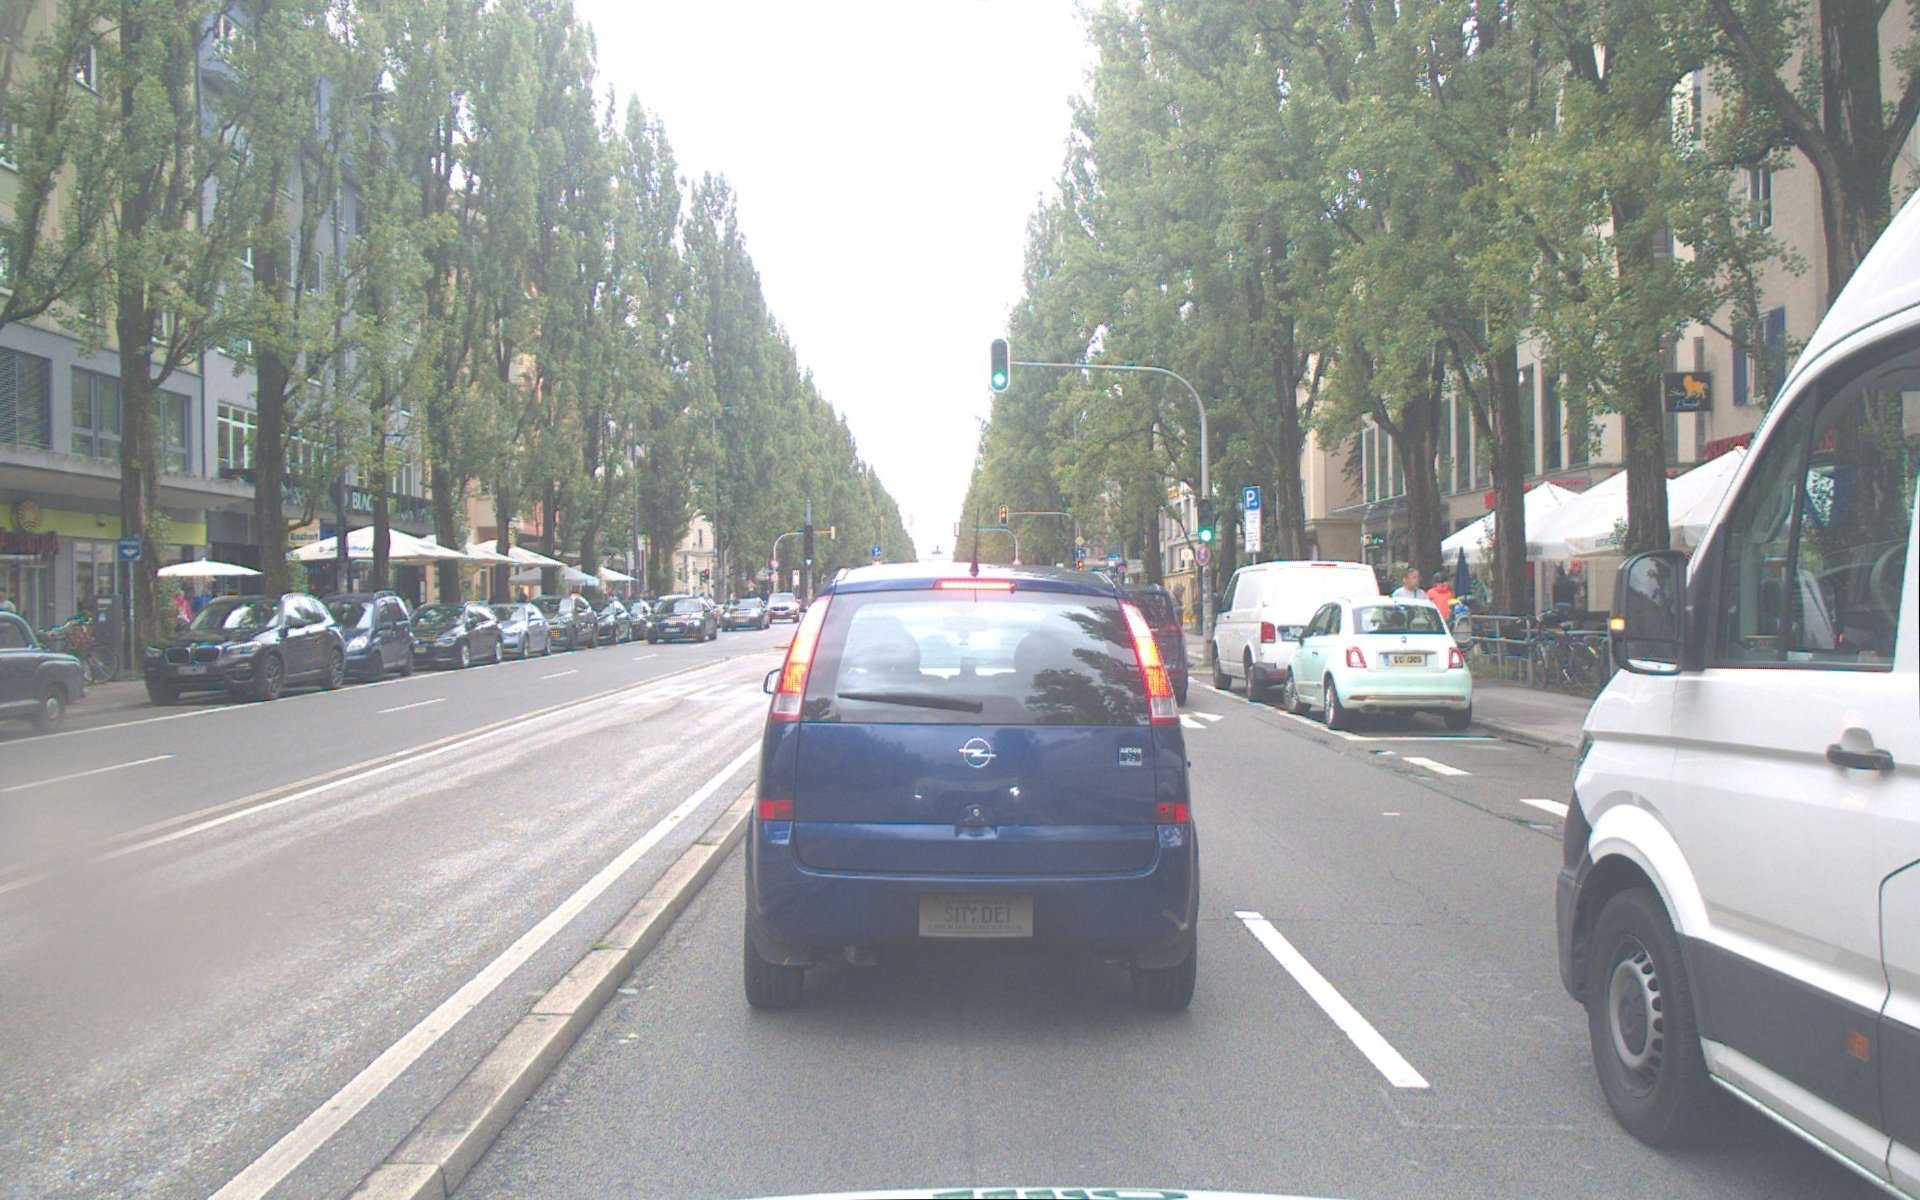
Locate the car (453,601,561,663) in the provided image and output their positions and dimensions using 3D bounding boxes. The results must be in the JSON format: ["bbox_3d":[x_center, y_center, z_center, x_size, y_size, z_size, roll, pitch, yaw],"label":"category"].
[{"bbox_3d":[-11.811,0.812,43.381,1.698,1.450,4.142,-2,0,-1],"label":"car"}]

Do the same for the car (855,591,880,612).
[{"bbox_3d":[-6.975,0.108,125.281,1.699,1.491,3.364,-1,0,-1],"label":"car"}]

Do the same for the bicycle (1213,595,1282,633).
[{"bbox_3d":[9.565,0.470,55.079,2.182,1.225,0.626,-1,0,-3],"label":"bicycle"}]

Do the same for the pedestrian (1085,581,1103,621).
[{"bbox_3d":[6.360,0.043,78.720,0.625,1.859,0.885,1,-1,-11],"label":"pedestrian"}]

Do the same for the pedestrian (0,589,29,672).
[{"bbox_3d":[-20.102,0.644,34.690,0.740,1.715,0.675,-1,-1,0],"label":"pedestrian"}]

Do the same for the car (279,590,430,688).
[{"bbox_3d":[-11.835,0.716,32.556,1.676,1.751,3.919,-2,0,-4],"label":"car"}]

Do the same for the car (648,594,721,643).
[{"bbox_3d":[-9.225,0.598,55.732,1.663,1.488,4.712,-2,0,-1],"label":"car"}]

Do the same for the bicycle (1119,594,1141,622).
[{"bbox_3d":[8.374,0.392,81.717,0.757,1.372,2.449,-1,0,-1],"label":"bicycle"}]

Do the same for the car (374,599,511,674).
[{"bbox_3d":[-11.762,0.791,37.899,1.762,1.514,4.349,-2,0,-1],"label":"car"}]

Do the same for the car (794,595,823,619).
[{"bbox_3d":[-11.091,0.498,121.156,1.828,1.695,4.119,-1,0,-1],"label":"car"}]

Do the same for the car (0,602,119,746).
[{"bbox_3d":[-11.617,0.872,18.829,1.828,1.579,4.413,-2,0,-1],"label":"car"}]

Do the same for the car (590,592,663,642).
[{"bbox_3d":[-12.124,0.599,60.326,1.828,1.694,4.119,-2,0,-1],"label":"car"}]

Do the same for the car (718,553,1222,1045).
[{"bbox_3d":[0.016,0.638,7.384,1.637,1.596,3.999,0,0,-1],"label":"car"}]

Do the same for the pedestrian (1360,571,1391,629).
[{"bbox_3d":[12.492,0.010,49.728,0.660,1.715,0.758,-1,-1,-5],"label":"pedestrian"}]

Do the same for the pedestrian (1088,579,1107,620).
[{"bbox_3d":[6.170,-0.023,74.322,0.625,1.859,0.885,1,-1,-11],"label":"pedestrian"}]

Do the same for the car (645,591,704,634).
[{"bbox_3d":[-12.252,0.513,71.112,1.828,1.694,4.119,-2,0,-1],"label":"car"}]

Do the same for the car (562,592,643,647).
[{"bbox_3d":[-11.935,0.625,55.484,1.828,1.694,4.119,-2,0,-1],"label":"car"}]

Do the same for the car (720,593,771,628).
[{"bbox_3d":[-9.465,0.441,73.248,1.710,1.459,4.129,-2,0,-1],"label":"car"}]

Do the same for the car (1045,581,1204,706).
[{"bbox_3d":[2.287,0.562,23.915,1.858,1.650,3.999,0,0,-1],"label":"car"}]

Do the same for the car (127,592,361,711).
[{"bbox_3d":[-11.590,0.763,27.138,1.828,1.693,4.610,-2,0,-1],"label":"car"}]

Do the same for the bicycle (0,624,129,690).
[{"bbox_3d":[-16.195,1.020,29.912,1.909,1.114,0.718,2,0,-7],"label":"bicycle"}]

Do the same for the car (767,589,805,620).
[{"bbox_3d":[-9.603,0.235,91.650,1.735,1.663,4.454,-2,0,-2],"label":"car"}]

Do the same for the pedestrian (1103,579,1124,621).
[{"bbox_3d":[6.922,0.001,74.523,0.707,1.859,0.885,1,-1,-11],"label":"pedestrian"}]

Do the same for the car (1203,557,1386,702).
[{"bbox_3d":[4.936,0.390,25.030,1.751,1.980,4.729,0,0,-1],"label":"car"}]

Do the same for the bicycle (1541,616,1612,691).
[{"bbox_3d":[8.775,0.743,23.585,0.342,1.013,1.453,-2,0,-4],"label":"bicycle"}]

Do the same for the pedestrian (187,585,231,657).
[{"bbox_3d":[-18.156,0.503,39.989,0.740,1.715,0.675,-1,-1,0],"label":"pedestrian"}]

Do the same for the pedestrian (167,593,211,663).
[{"bbox_3d":[-19.114,0.686,40.997,0.740,1.715,0.675,-1,-1,0],"label":"pedestrian"}]

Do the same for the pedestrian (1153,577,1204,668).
[{"bbox_3d":[4.201,0.423,31.803,0.843,1.714,0.626,-1,0,-4],"label":"pedestrian"}]

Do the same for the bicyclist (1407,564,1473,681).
[{"bbox_3d":[7.509,0.344,25.900,0.752,1.797,0.885,-1,0,-1],"label":"bicyclist"}]

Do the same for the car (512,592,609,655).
[{"bbox_3d":[-11.822,0.654,49.201,1.828,1.694,4.400,-2,0,-1],"label":"car"}]

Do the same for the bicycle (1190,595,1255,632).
[{"bbox_3d":[9.196,0.466,57.986,2.182,1.225,0.626,-1,0,-3],"label":"bicycle"}]

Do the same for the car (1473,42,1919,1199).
[{"bbox_3d":[2.779,0.250,2.255,2.021,2.536,6.729,0,0,-1],"label":"car"}]

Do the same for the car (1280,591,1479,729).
[{"bbox_3d":[4.956,0.652,19.956,1.509,1.518,3.523,0,0,0],"label":"car"}]

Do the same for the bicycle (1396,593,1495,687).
[{"bbox_3d":[7.517,0.588,25.740,0.757,1.372,2.449,-1,0,-1],"label":"bicycle"}]

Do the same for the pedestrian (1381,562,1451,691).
[{"bbox_3d":[6.488,0.367,23.576,0.810,1.804,0.871,-1,0,5],"label":"pedestrian"}]

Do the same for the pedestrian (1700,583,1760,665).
[{"bbox_3d":[13.017,0.395,27.967,0.625,1.347,0.800,-1,0,-1],"label":"pedestrian"}]

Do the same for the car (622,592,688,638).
[{"bbox_3d":[-12.105,0.555,65.853,1.828,1.694,4.119,-2,0,-1],"label":"car"}]

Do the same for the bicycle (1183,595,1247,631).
[{"bbox_3d":[9.151,0.465,59.364,2.182,1.225,0.626,-1,0,-3],"label":"bicycle"}]

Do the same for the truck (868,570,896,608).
[{"bbox_3d":[-7.310,-1.018,154.948,2.334,3.405,7.109,-1,0,-1],"label":"truck"}]
